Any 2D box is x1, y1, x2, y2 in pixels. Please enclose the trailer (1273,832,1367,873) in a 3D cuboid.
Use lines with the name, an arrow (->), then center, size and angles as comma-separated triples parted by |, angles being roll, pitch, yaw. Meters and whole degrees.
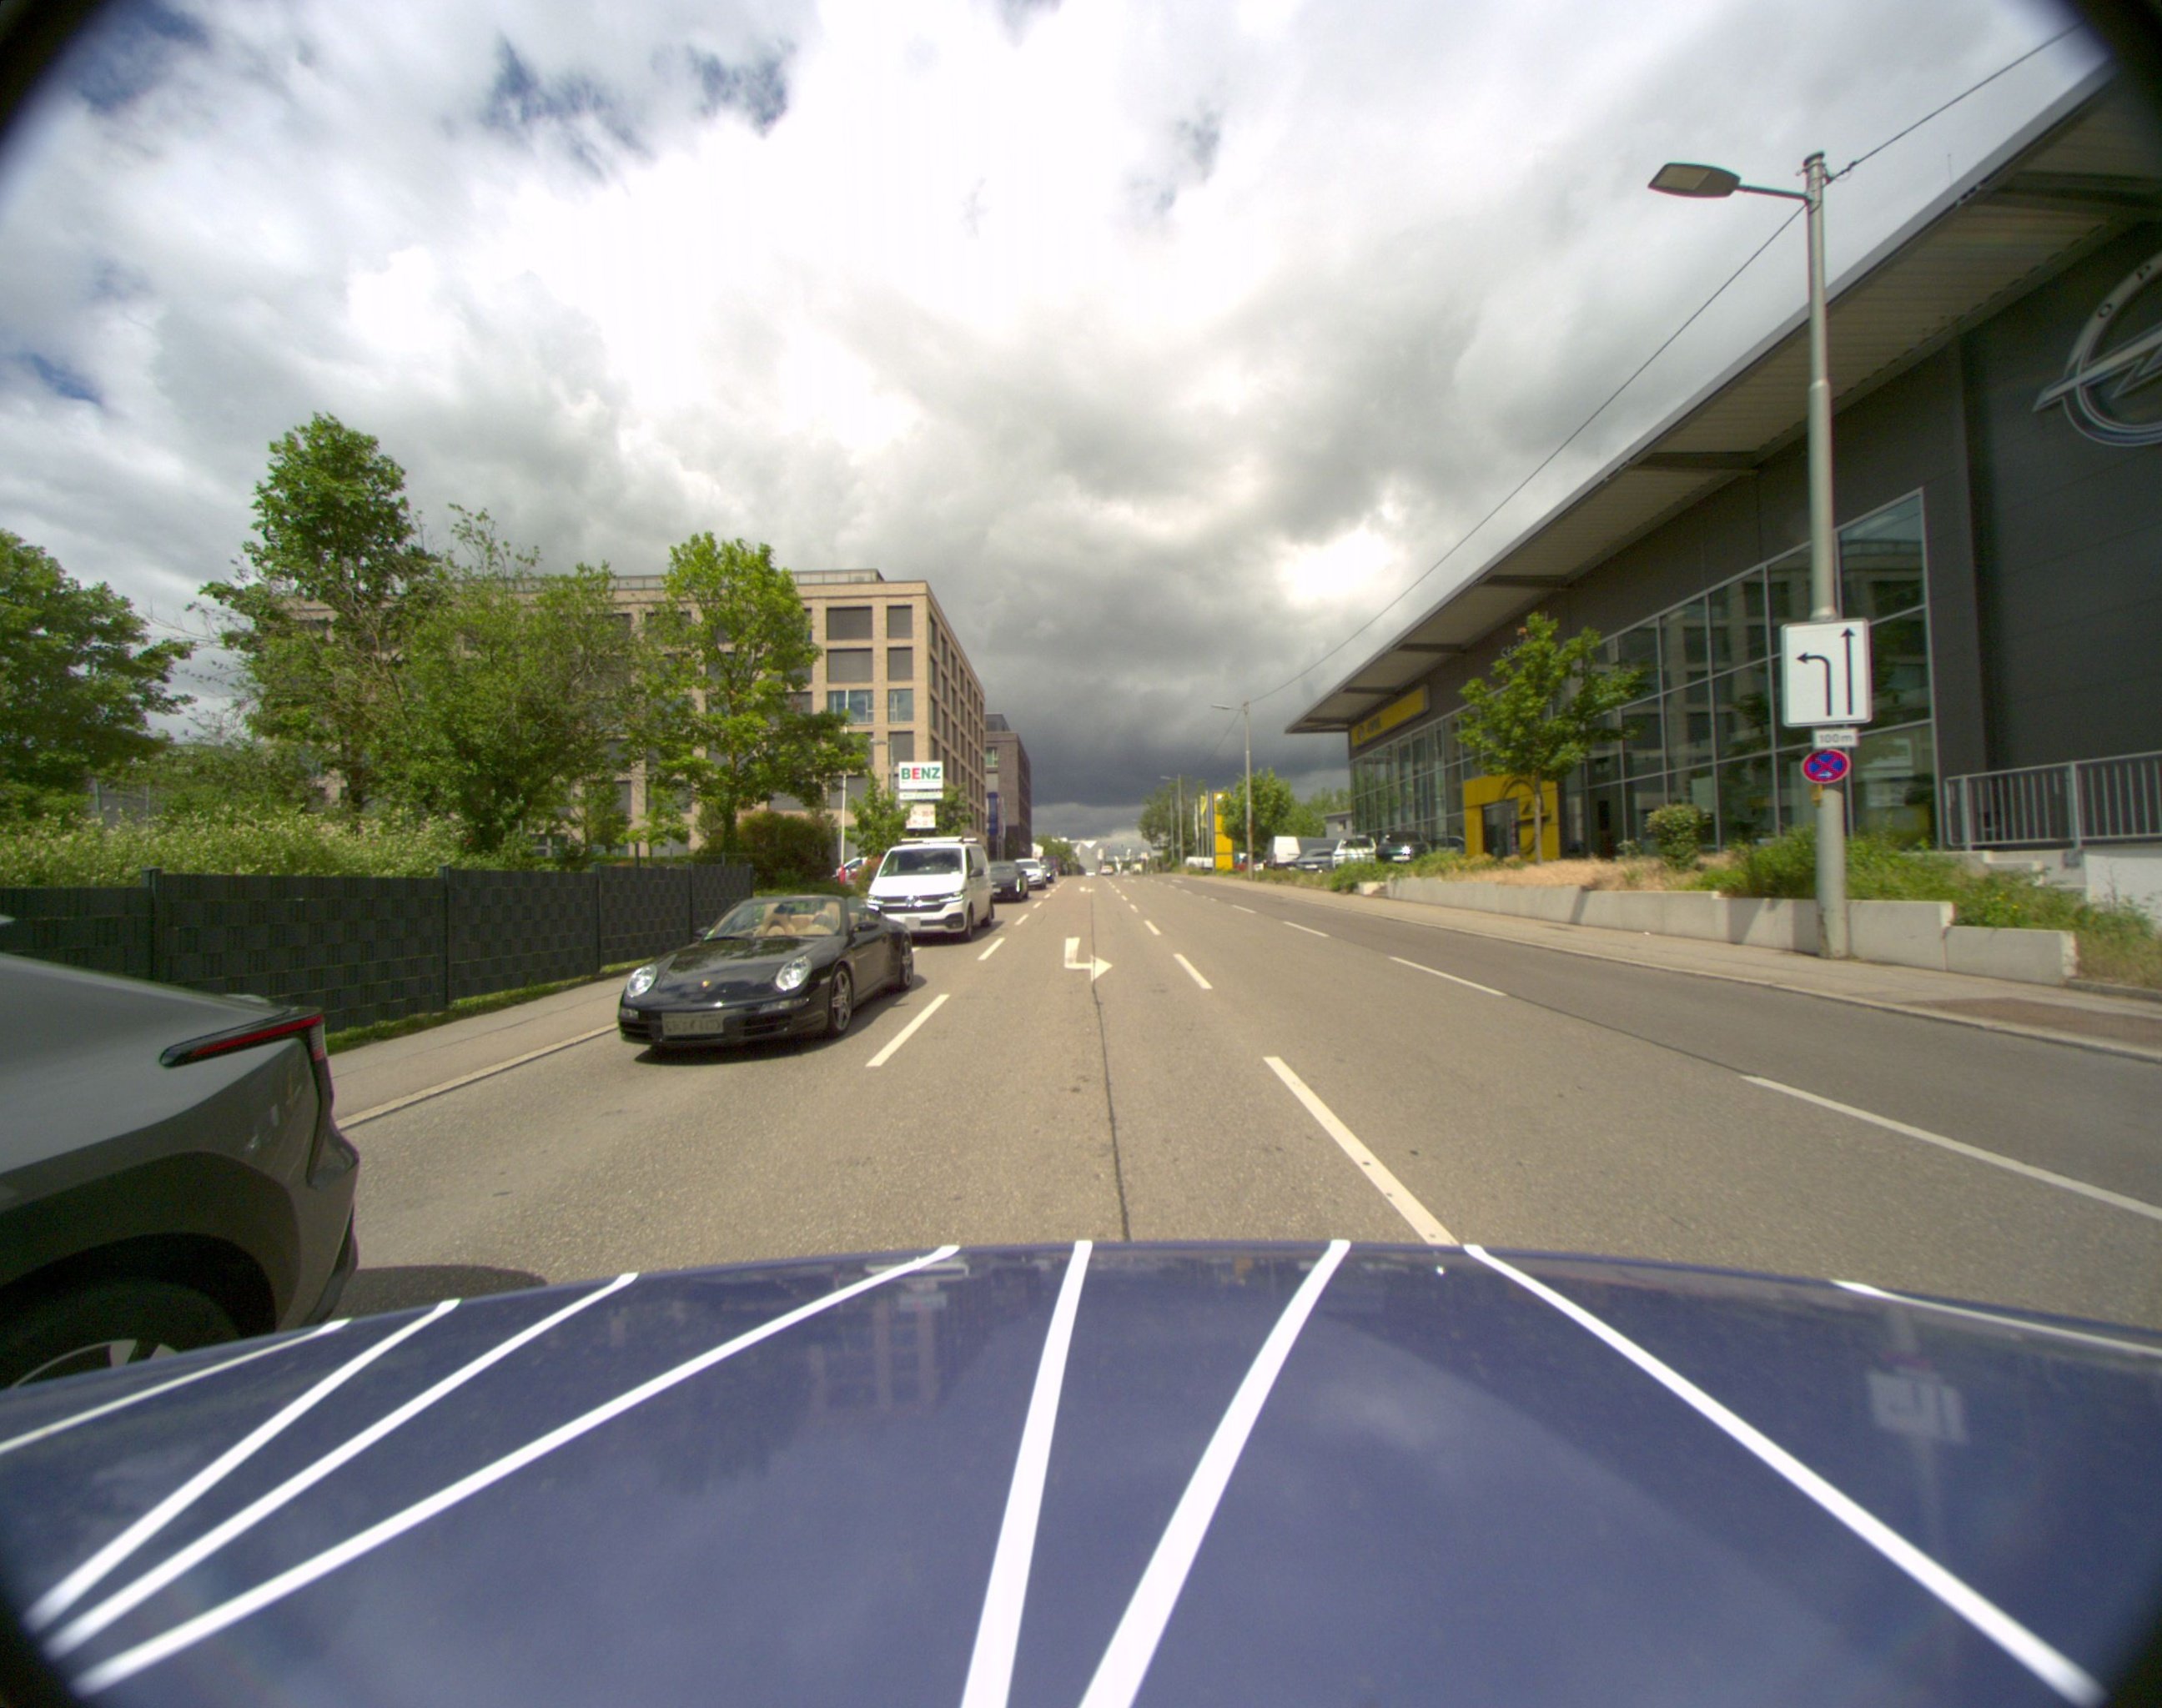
trailer -> 14.453, -0.077, 46.170 | 5.074, 2.336, 2.000 | -1, 1, -1

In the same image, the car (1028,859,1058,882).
car -> -2.440, 1.031, 49.664 | 1.662, 1.351, 4.000 | -1, 0, 1

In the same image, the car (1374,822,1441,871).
car -> 12.338, -0.259, 28.926 | 1.996, 1.718, 4.005 | -1, 0, 18

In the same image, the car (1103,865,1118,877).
car -> 4.520, 2.598, 116.956 | 1.998, 1.731, 4.547 | -2, 0, 1

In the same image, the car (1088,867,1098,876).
car -> 2.484, 3.645, 159.675 | 1.998, 1.819, 4.547 | -2, 0, 2

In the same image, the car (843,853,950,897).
car -> -7.627, 0.861, 31.700 | 3.998, 1.723, 1.822 | -1, 1, -3

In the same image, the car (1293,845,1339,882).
car -> 12.109, 0.461, 39.011 | 1.995, 1.783, 4.006 | -1, 0, 21

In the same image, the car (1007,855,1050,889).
car -> -2.591, 0.890, 38.425 | 1.818, 1.577, 4.000 | -1, 0, 1

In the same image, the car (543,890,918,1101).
car -> -3.037, 1.150, 7.669 | 1.824, 1.286, 4.038 | -2, 0, 1

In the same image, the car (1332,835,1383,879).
car -> 12.170, 0.122, 33.437 | 1.995, 1.783, 4.006 | -1, 0, 21

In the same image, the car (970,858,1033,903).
car -> -2.827, 0.908, 27.885 | 1.818, 1.454, 4.000 | -1, 0, 1

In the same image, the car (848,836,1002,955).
car -> -3.015, 0.729, 15.886 | 2.089, 2.037, 4.760 | -2, 0, 1
